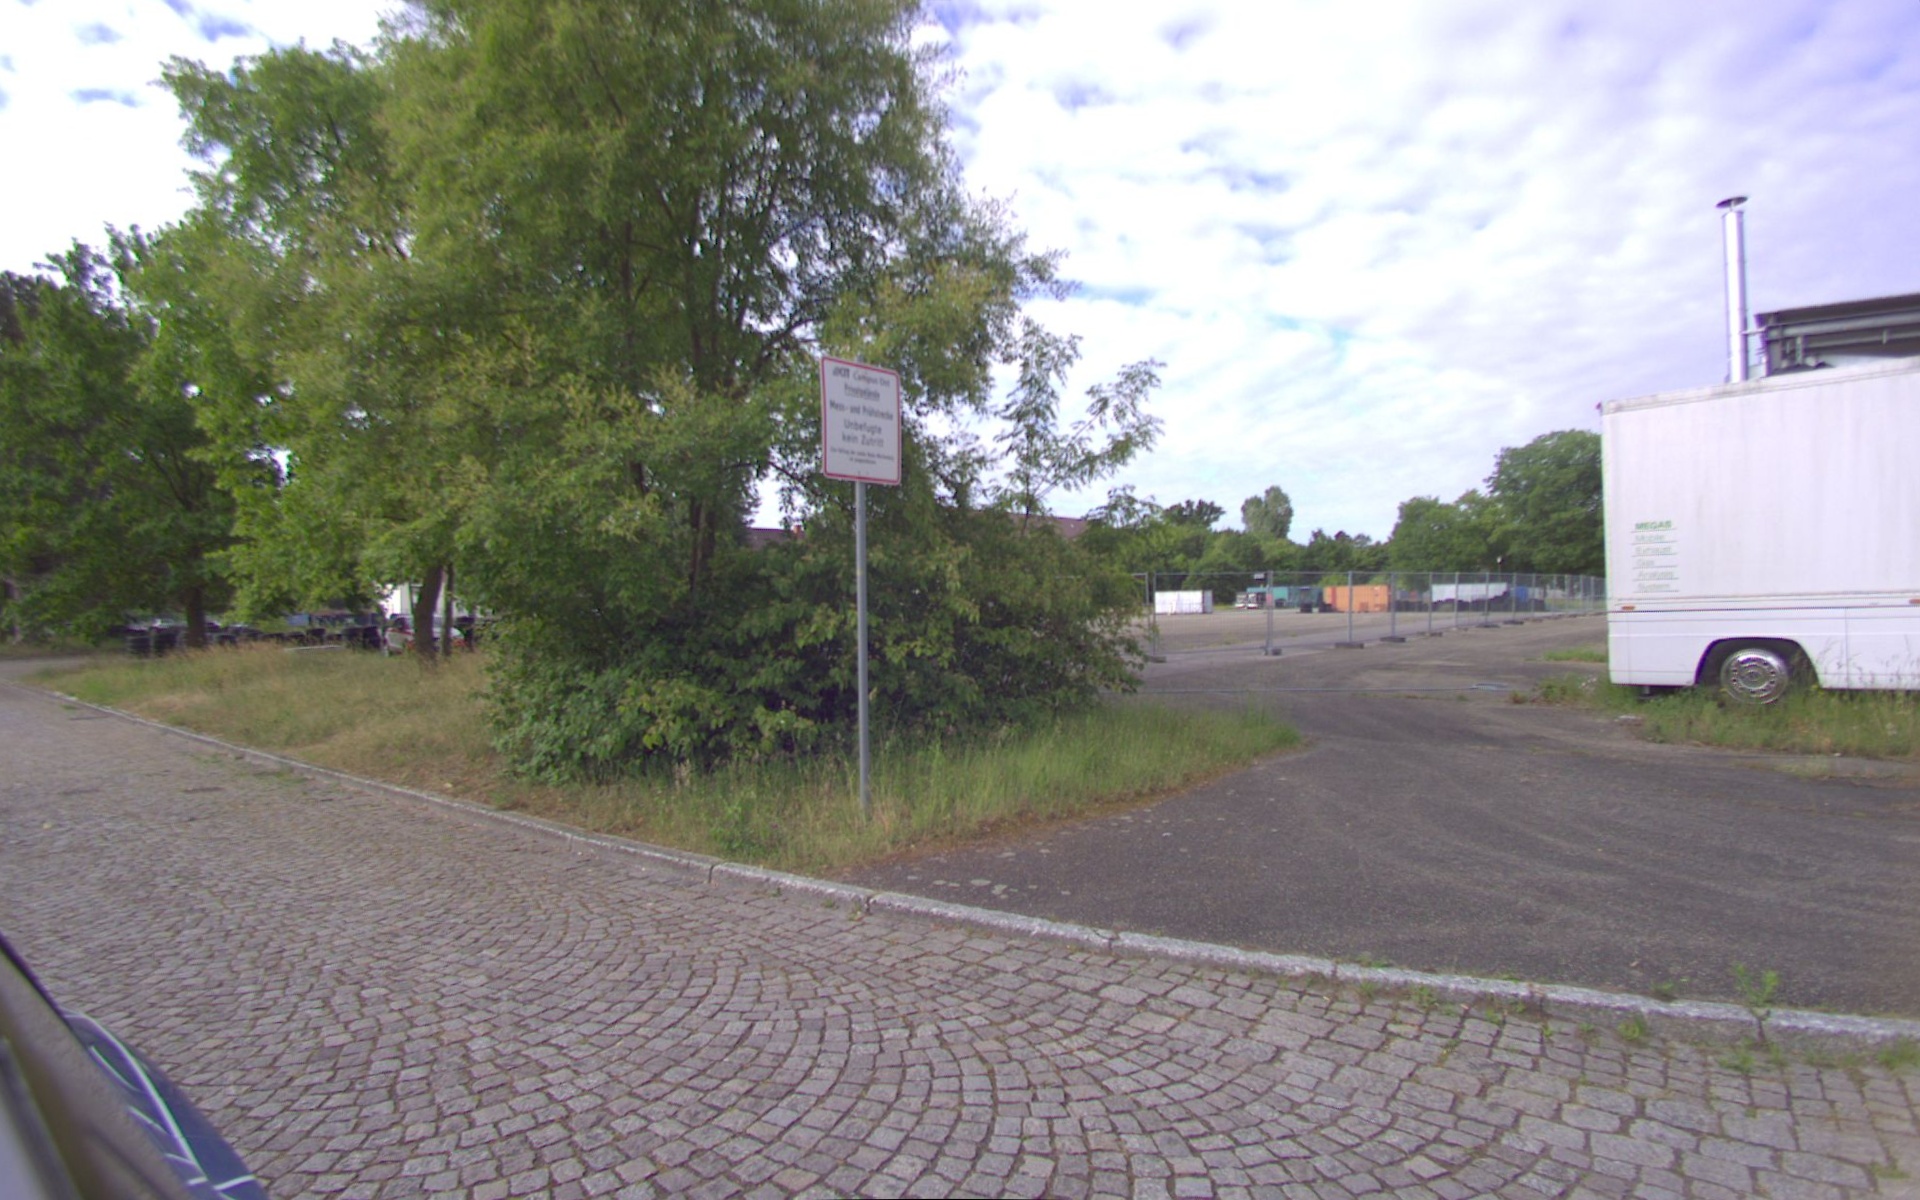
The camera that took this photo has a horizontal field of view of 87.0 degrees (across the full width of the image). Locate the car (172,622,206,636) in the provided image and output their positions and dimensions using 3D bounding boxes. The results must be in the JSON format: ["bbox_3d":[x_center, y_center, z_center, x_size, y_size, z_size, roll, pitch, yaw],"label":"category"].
[{"bbox_3d":[-84.430,3.190,110.806,4.447,1.460,1.975,-2,0,38],"label":"car"}]

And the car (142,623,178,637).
[{"bbox_3d":[-86.019,3.235,108.808,4.447,1.460,1.975,-2,0,38],"label":"car"}]

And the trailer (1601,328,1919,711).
[{"bbox_3d":[12.227,-0.846,8.960,10.722,3.734,2.627,-2,-1,44],"label":"trailer"}]

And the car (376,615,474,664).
[{"bbox_3d":[-17.572,1.256,33.142,1.802,1.442,4.223,-1,-1,-43],"label":"car"}]

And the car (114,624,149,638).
[{"bbox_3d":[-87.274,3.275,106.615,4.447,1.460,1.975,-2,0,38],"label":"car"}]
